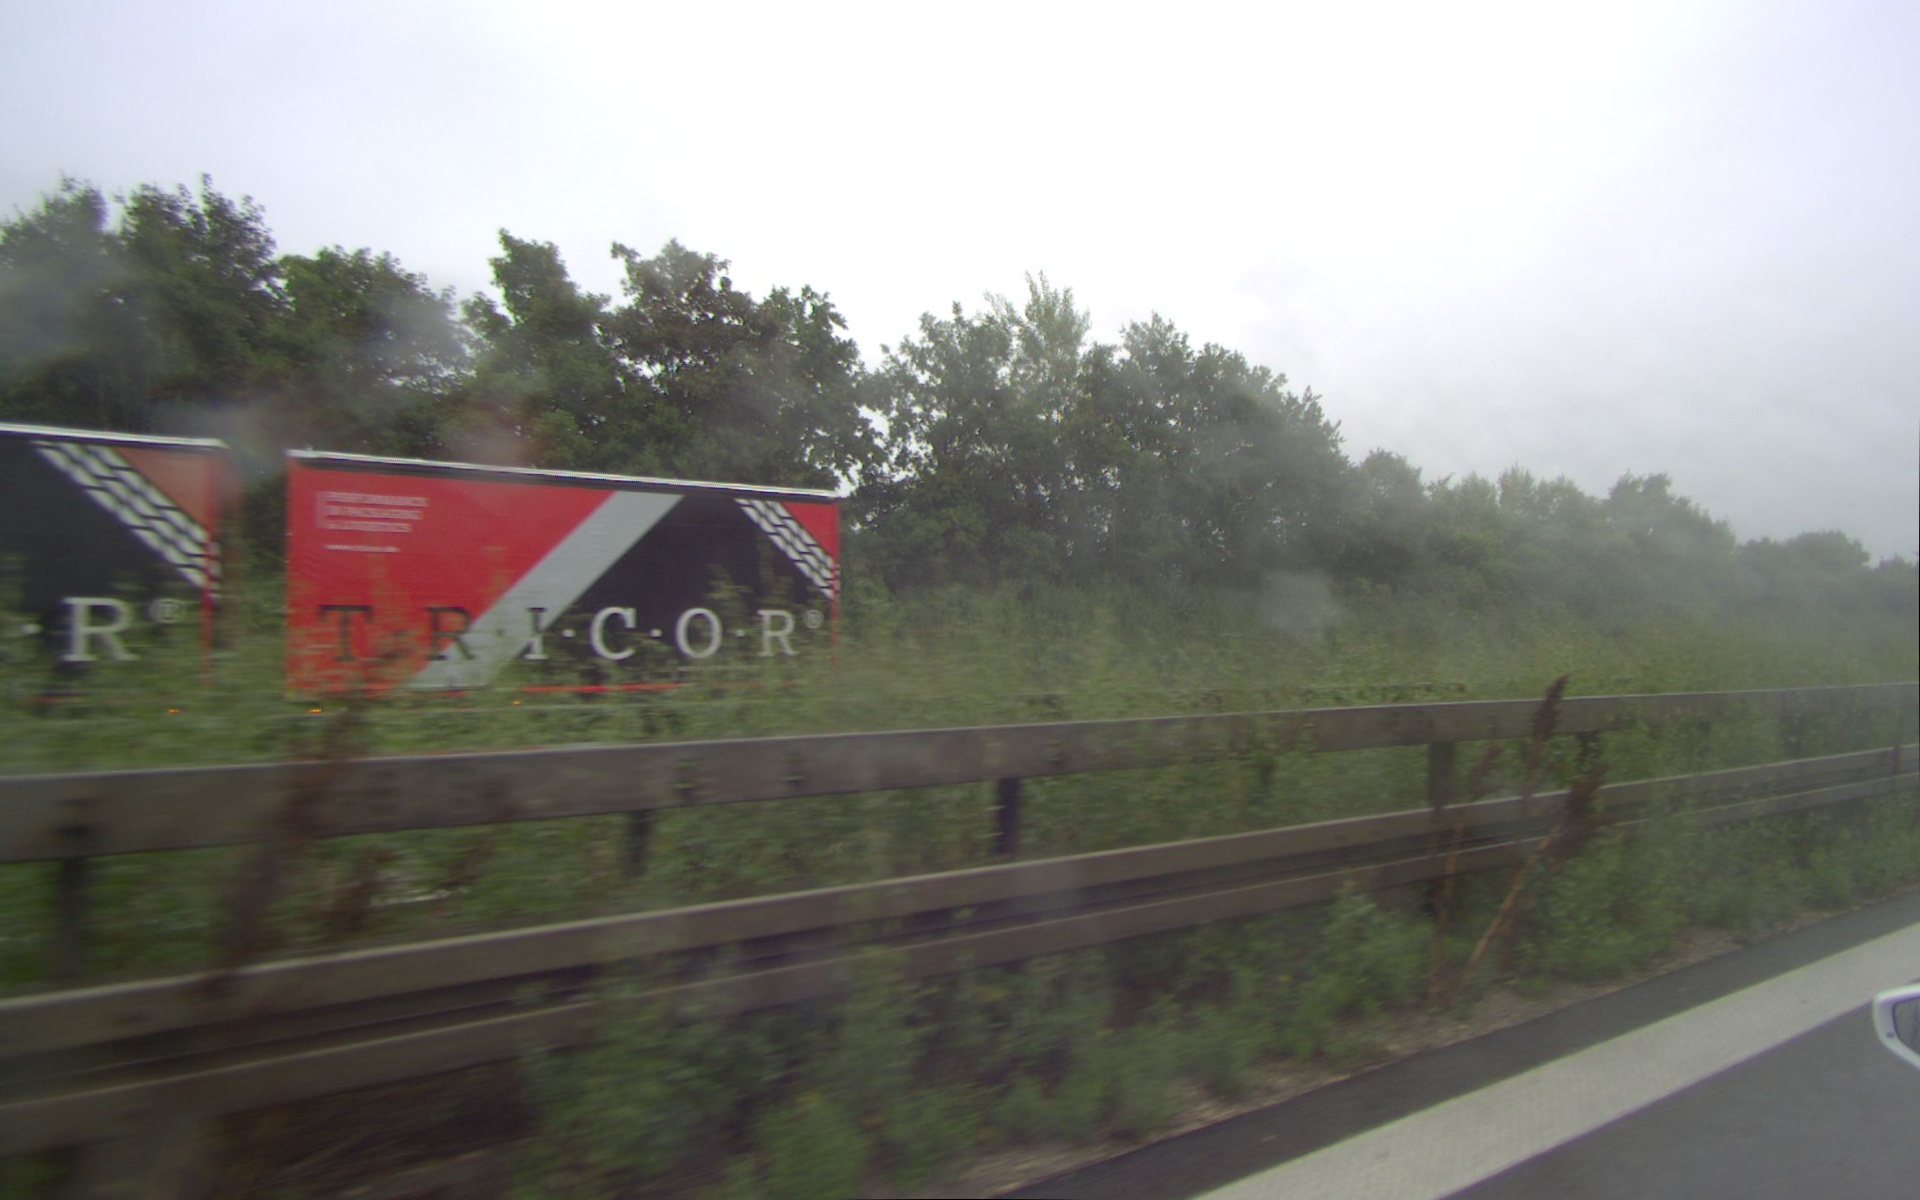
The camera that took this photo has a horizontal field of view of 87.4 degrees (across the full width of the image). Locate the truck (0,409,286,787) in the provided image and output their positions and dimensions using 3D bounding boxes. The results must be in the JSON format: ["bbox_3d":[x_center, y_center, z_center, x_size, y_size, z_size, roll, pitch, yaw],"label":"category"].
[{"bbox_3d":[-14.229,-0.094,10.915,11.224,4.287,2.683,1,0,-31],"label":"truck"}]

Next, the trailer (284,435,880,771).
[{"bbox_3d":[-5.666,0.127,16.149,8.393,4.287,2.683,1,0,-31],"label":"trailer"}]
